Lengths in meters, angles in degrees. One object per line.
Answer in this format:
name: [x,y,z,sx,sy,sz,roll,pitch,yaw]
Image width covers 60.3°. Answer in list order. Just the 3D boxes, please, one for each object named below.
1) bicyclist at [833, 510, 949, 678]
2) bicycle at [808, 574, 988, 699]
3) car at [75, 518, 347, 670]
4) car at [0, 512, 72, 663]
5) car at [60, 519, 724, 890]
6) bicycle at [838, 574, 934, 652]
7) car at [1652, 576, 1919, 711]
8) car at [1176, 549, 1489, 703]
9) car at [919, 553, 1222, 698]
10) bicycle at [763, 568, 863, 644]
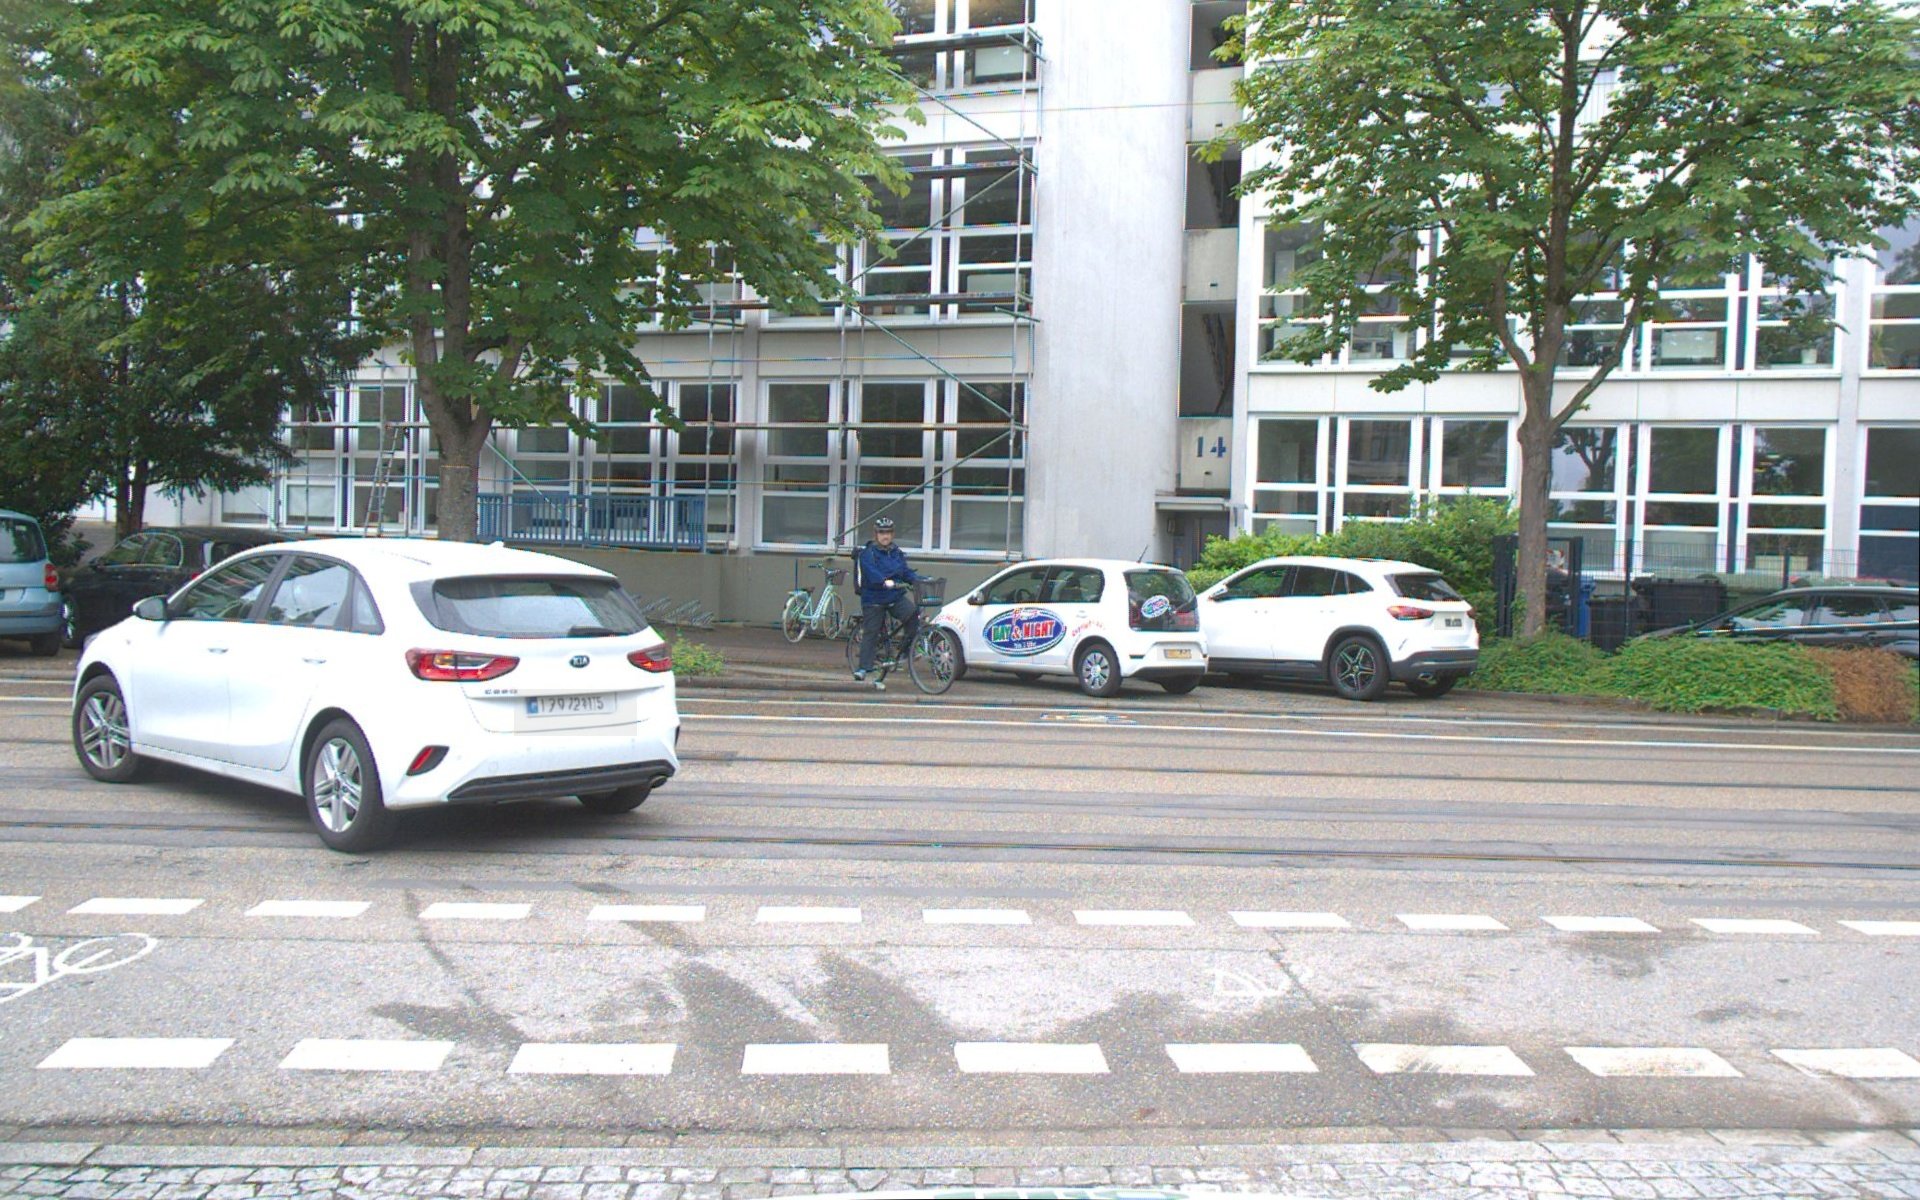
bicyclist: [-0.737,-0.079,17.630,0.882,1.727,0.828,3,2,44]
bicycle: [-0.681,0.358,17.576,1.883,1.194,0.816,3,2,44]
car: [-8.354,-0.119,18.349,3.279,1.537,1.609,2,2,43]
car: [-11.239,-0.194,18.208,3.279,1.563,1.609,3,2,43]
car: [-3.263,0.363,9.148,3.908,1.457,1.772,5,6,41]
bicycle: [-1.099,0.165,25.180,0.631,1.093,2.313,2,2,19]
car: [10.788,0.493,20.361,3.881,1.499,1.665,2,2,40]
car: [4.386,0.245,19.745,1.545,1.646,3.352,0,2,-44]
car: [1.226,0.227,19.247,1.545,1.499,3.352,0,2,-44]
bicycle: [-2.239,0.069,25.594,0.631,1.093,2.313,2,2,19]
